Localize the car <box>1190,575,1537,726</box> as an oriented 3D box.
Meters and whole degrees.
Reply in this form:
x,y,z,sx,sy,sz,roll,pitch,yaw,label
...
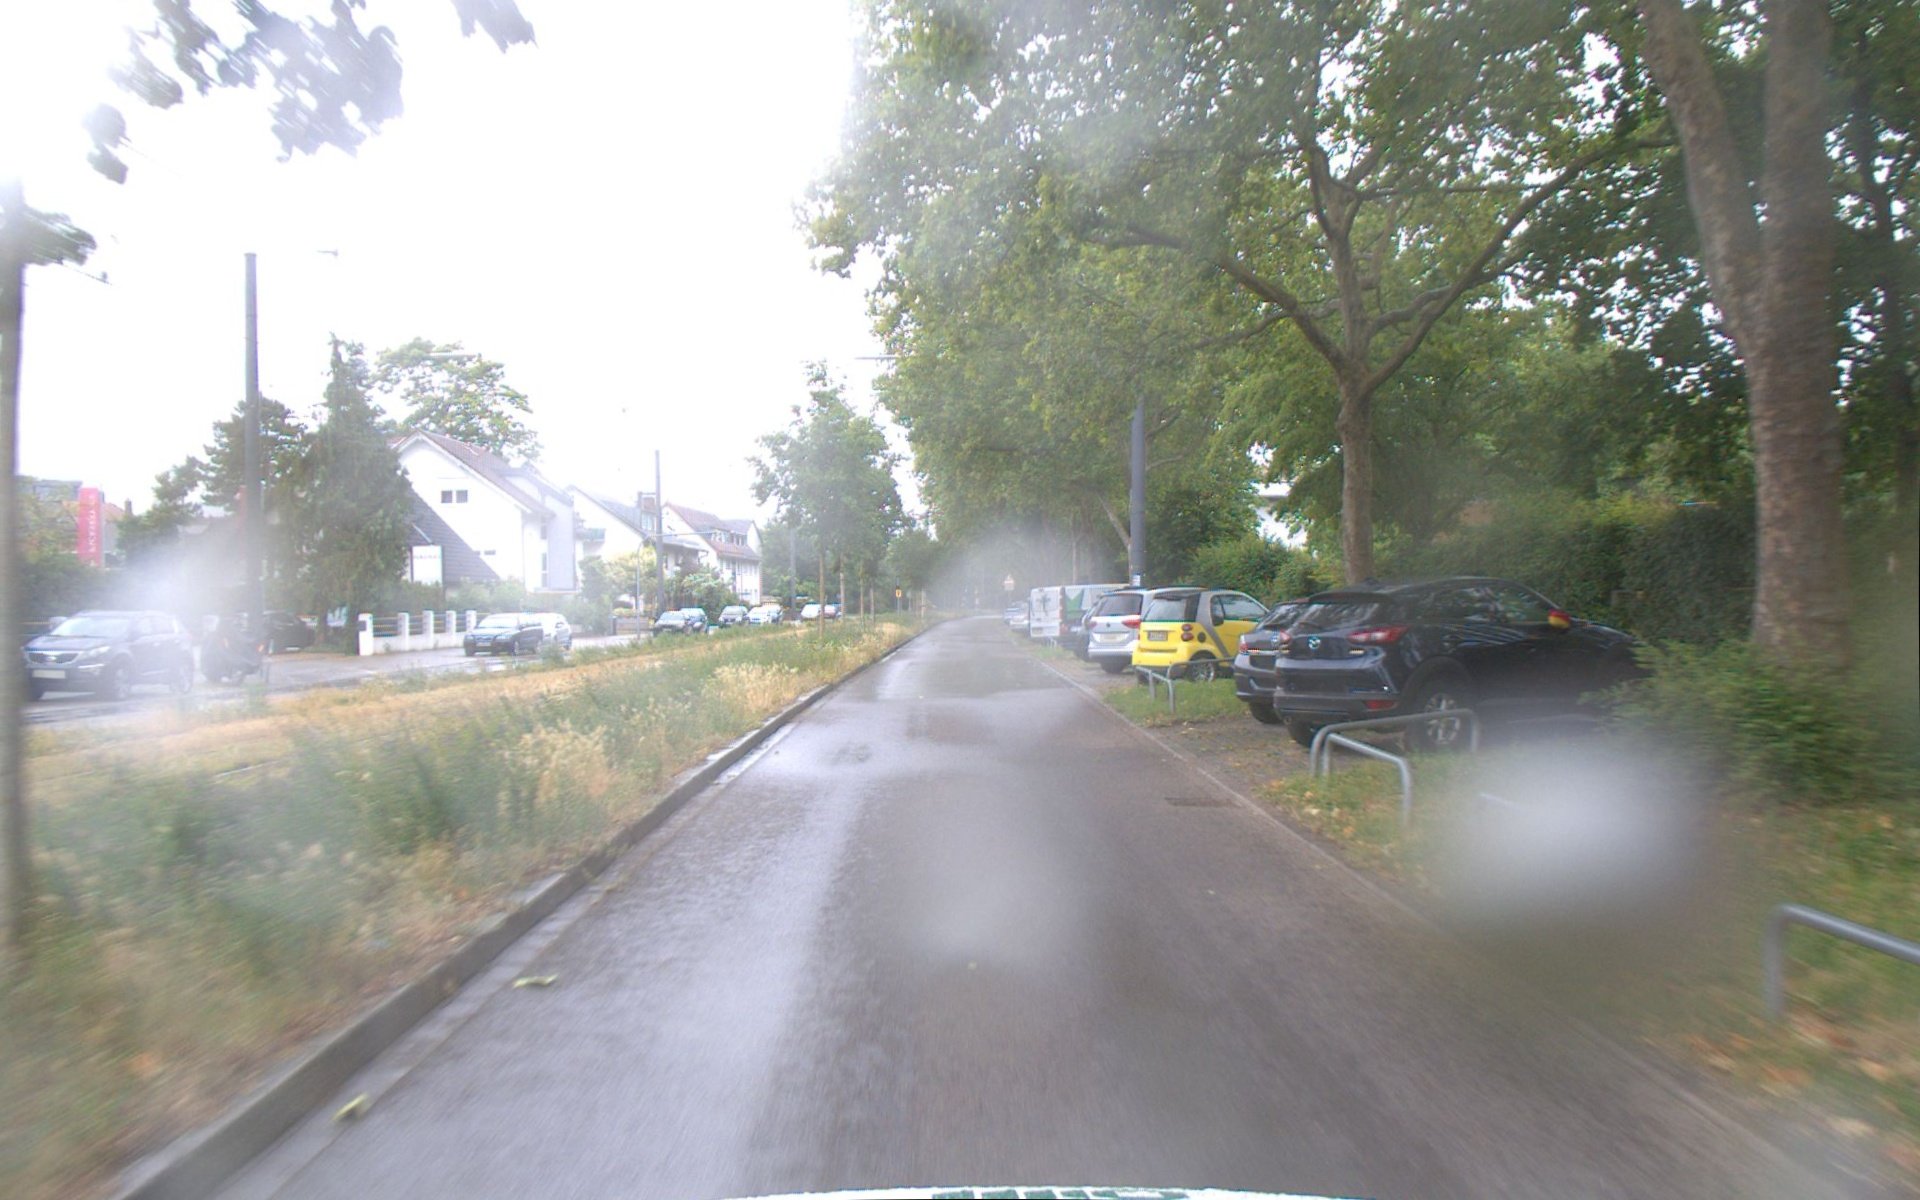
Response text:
x,y,z,sx,sy,sz,roll,pitch,yaw,label
4.722,0.542,19.126,4.020,1.443,1.719,-3,-1,-37,car

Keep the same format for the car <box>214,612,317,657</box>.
x,y,z,sx,sy,sz,roll,pitch,yaw,label
-24.374,1.191,58.186,1.953,1.481,3.918,1,0,0,car

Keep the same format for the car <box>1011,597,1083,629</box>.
x,y,z,sx,sy,sz,roll,pitch,yaw,label
4.790,0.715,90.856,3.667,1.593,1.601,-2,0,-33,car

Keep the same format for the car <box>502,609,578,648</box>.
x,y,z,sx,sy,sz,roll,pitch,yaw,label
-16.262,1.085,64.229,1.953,1.435,3.971,1,0,0,car

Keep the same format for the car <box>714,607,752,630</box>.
x,y,z,sx,sy,sz,roll,pitch,yaw,label
-15.802,1.284,115.232,1.952,1.543,4.206,1,0,2,car

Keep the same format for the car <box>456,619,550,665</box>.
x,y,z,sx,sy,sz,roll,pitch,yaw,label
-16.127,1.446,58.614,1.952,1.481,4.532,1,0,2,car

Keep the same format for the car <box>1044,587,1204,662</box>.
x,y,z,sx,sy,sz,roll,pitch,yaw,label
3.873,0.575,38.941,3.370,1.544,1.825,-3,-1,-38,car

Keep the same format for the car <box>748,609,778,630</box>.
x,y,z,sx,sy,sz,roll,pitch,yaw,label
-15.125,1.503,126.896,1.759,1.514,3.597,1,0,2,car

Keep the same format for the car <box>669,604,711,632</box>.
x,y,z,sx,sy,sz,roll,pitch,yaw,label
-15.967,1.043,97.857,1.835,1.578,3.870,1,0,0,car

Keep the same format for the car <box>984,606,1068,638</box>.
x,y,z,sx,sy,sz,roll,pitch,yaw,label
3.903,1.287,97.311,4.723,1.697,1.969,-2,0,-37,car

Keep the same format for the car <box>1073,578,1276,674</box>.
x,y,z,sx,sy,sz,roll,pitch,yaw,label
4.315,0.497,32.968,4.008,1.669,1.631,-3,-1,-39,car

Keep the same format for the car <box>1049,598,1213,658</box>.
x,y,z,sx,sy,sz,roll,pitch,yaw,label
4.429,0.689,42.513,4.265,1.408,1.716,-1,0,-40,car

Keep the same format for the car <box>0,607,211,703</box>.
x,y,z,sx,sy,sz,roll,pitch,yaw,label
-16.420,0.999,32.016,1.953,1.704,4.386,0,0,-2,car

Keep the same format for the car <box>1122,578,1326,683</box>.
x,y,z,sx,sy,sz,roll,pitch,yaw,label
4.276,0.483,26.801,2.864,1.492,1.588,-3,-1,-29,car

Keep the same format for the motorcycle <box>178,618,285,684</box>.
x,y,z,sx,sy,sz,roll,pitch,yaw,label
-16.457,1.125,37.337,2.640,1.436,1.259,-1,-2,42,motorcycle

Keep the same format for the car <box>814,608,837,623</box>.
x,y,z,sx,sy,sz,roll,pitch,yaw,label
-13.909,1.577,171.273,1.952,1.514,4.206,1,0,2,car

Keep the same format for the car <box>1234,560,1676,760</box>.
x,y,z,sx,sy,sz,roll,pitch,yaw,label
4.664,0.489,15.549,3.750,1.559,1.866,-3,1,-28,car

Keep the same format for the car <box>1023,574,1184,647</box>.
x,y,z,sx,sy,sz,roll,pitch,yaw,label
4.595,0.314,52.499,4.973,2.048,1.975,-3,1,-35,car

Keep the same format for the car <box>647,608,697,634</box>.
x,y,z,sx,sy,sz,roll,pitch,yaw,label
-16.086,1.175,92.592,1.952,1.374,4.241,1,0,2,car

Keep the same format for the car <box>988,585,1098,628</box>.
x,y,z,sx,sy,sz,roll,pitch,yaw,label
3.619,0.278,72.091,4.503,1.571,1.867,-4,1,-32,car

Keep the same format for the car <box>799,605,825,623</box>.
x,y,z,sx,sy,sz,roll,pitch,yaw,label
-14.083,1.351,157.526,1.952,1.608,4.518,1,0,2,car
